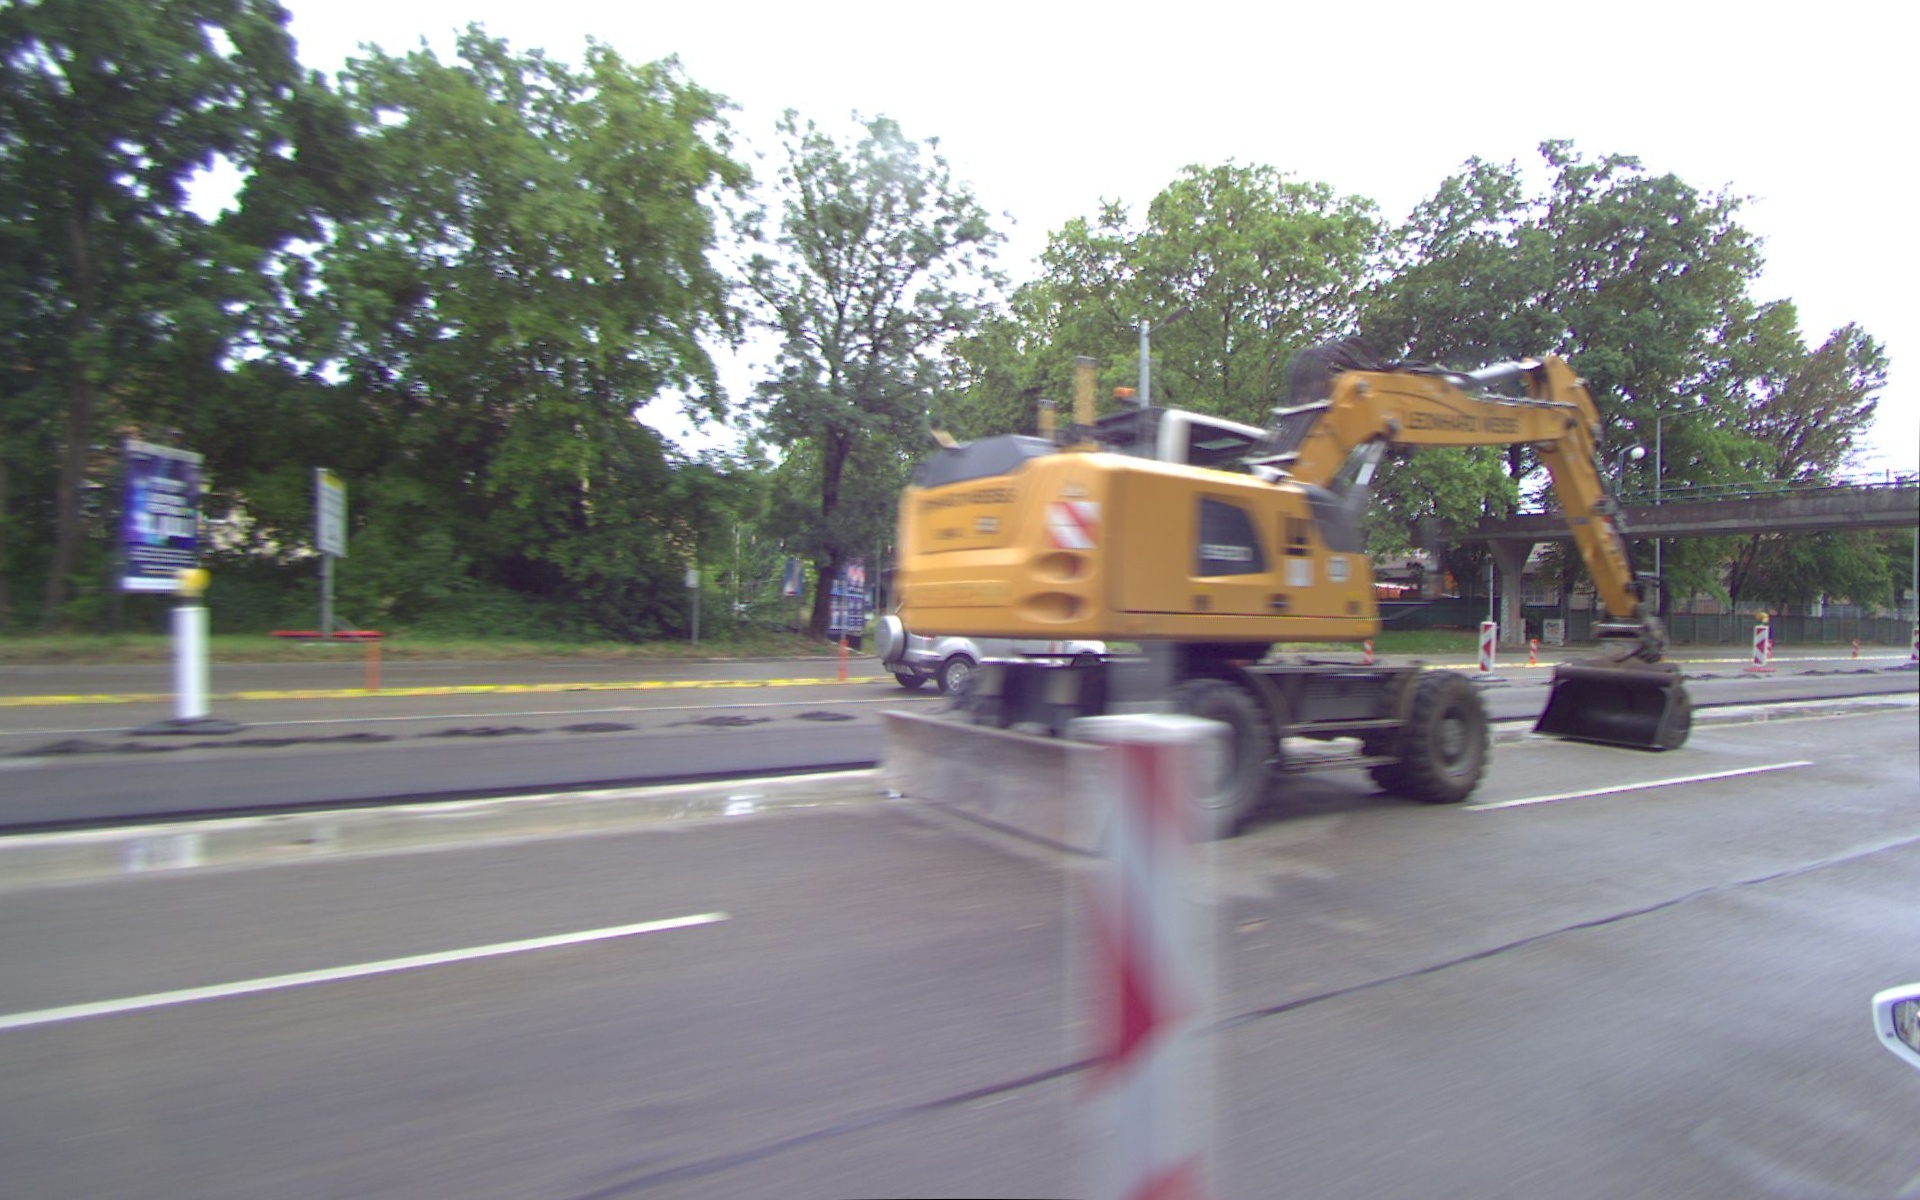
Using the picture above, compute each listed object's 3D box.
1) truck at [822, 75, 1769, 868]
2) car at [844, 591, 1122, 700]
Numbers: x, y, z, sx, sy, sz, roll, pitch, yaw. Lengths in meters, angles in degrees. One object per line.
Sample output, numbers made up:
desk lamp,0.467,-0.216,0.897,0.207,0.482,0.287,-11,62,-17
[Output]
truck,4.119,-0.623,9.724,10.647,4.316,2.878,1,0,-35
car,0.416,0.702,16.801,4.313,1.585,1.879,1,1,-30
